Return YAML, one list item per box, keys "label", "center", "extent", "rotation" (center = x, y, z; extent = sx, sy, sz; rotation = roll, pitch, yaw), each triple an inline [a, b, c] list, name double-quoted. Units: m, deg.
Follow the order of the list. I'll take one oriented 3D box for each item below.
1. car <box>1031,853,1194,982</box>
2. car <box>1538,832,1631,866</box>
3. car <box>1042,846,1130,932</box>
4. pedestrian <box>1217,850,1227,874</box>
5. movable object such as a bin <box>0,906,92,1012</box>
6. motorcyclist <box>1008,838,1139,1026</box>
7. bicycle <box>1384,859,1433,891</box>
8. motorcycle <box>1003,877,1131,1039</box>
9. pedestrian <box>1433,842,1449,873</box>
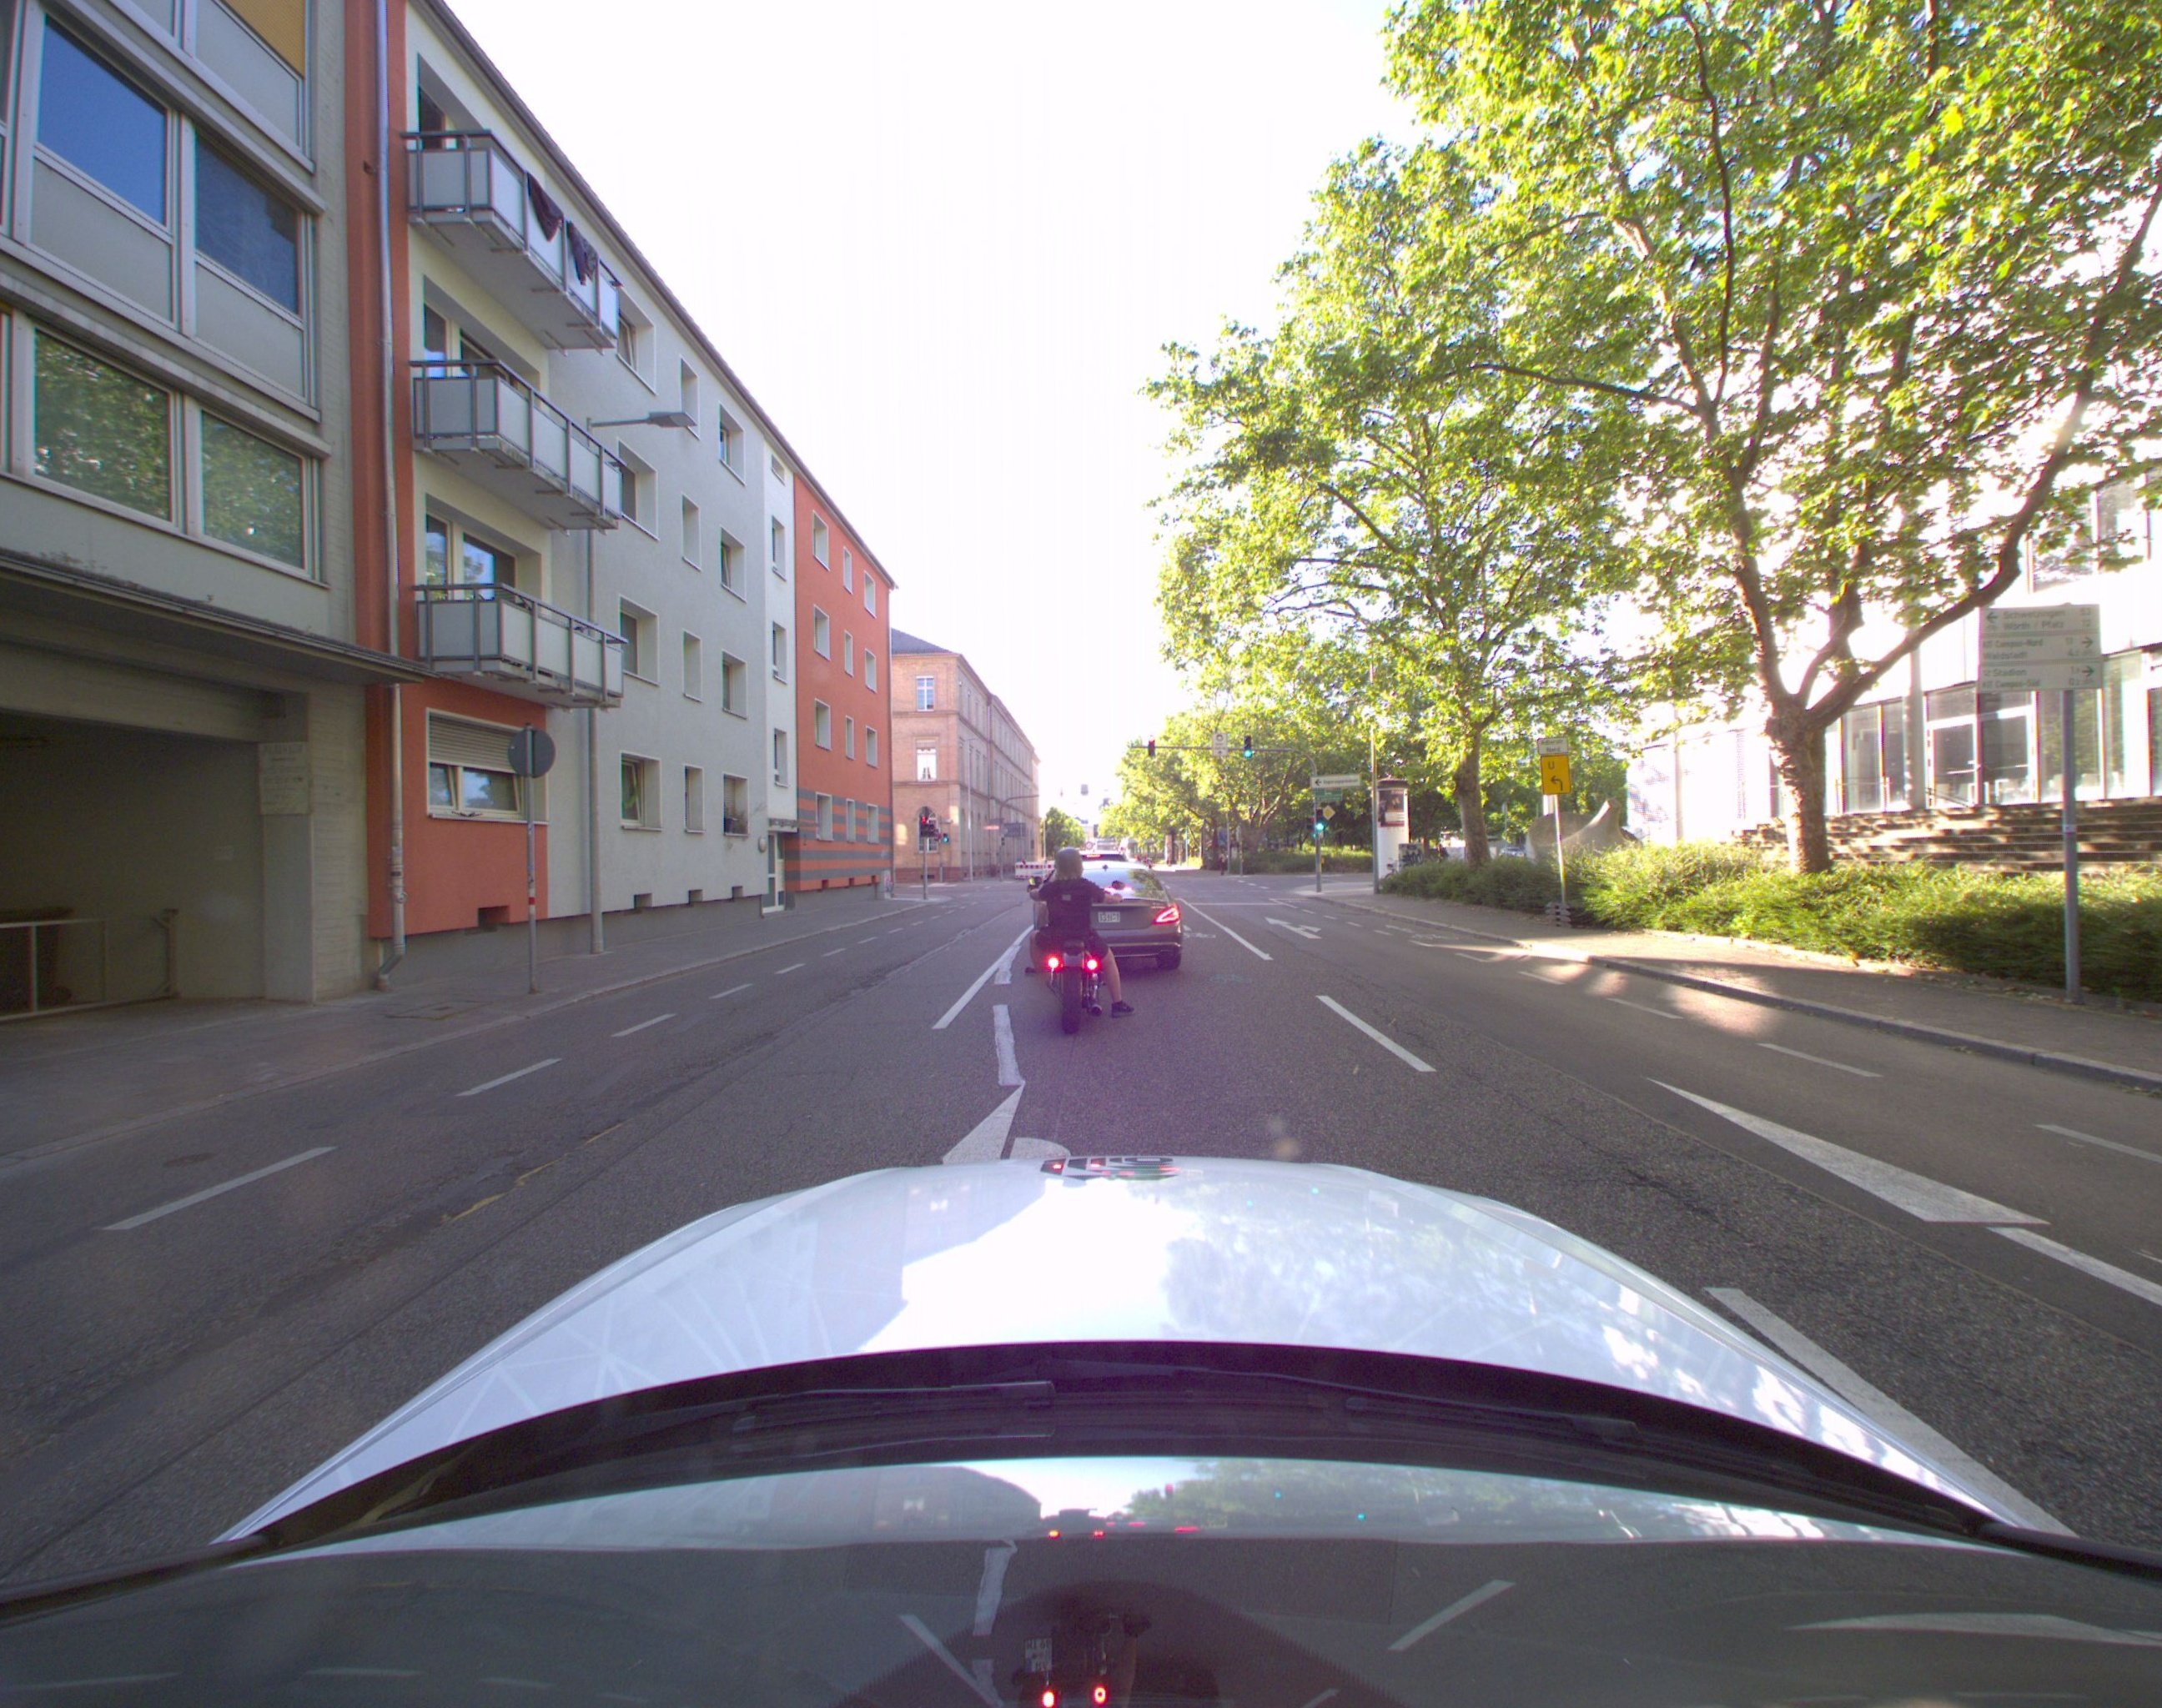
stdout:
- label: "car"
  center: [0.248, 0.749, 11.755]
  extent: [1.818, 1.476, 4.346]
  rotation: [-1, 0, -5]
- label: "car"
  center: [28.178, -0.258, 45.687]
  extent: [3.975, 1.784, 2.004]
  rotation: [-1, 0, 7]
- label: "car"
  center: [0.127, 0.676, 17.692]
  extent: [1.676, 1.625, 3.841]
  rotation: [-1, 0, 1]
- label: "pedestrian"
  center: [10.091, 0.544, 58.233]
  extent: [0.557, 1.678, 0.565]
  rotation: [-1, 0, 1]
- label: "movable object such as a bin"
  center: [-11.264, 1.100, 8.671]
  extent: [0.584, 1.040, 0.712]
  rotation: [-1, 0, 2]
- label: "motorcyclist"
  center: [-0.046, 0.679, 7.692]
  extent: [1.109, 1.613, 1.202]
  rotation: [-1, 0, 1]
- label: "bicycle"
  center: [10.978, 0.708, 27.342]
  extent: [1.411, 1.037, 0.538]
  rotation: [-1, 0, -2]
- label: "motorcycle"
  center: [-0.073, 0.867, 7.859]
  extent: [1.003, 1.204, 2.666]
  rotation: [-1, 0, 2]
- label: "pedestrian"
  center: [21.127, 0.187, 47.798]
  extent: [0.617, 1.784, 0.631]
  rotation: [-1, 0, 4]
